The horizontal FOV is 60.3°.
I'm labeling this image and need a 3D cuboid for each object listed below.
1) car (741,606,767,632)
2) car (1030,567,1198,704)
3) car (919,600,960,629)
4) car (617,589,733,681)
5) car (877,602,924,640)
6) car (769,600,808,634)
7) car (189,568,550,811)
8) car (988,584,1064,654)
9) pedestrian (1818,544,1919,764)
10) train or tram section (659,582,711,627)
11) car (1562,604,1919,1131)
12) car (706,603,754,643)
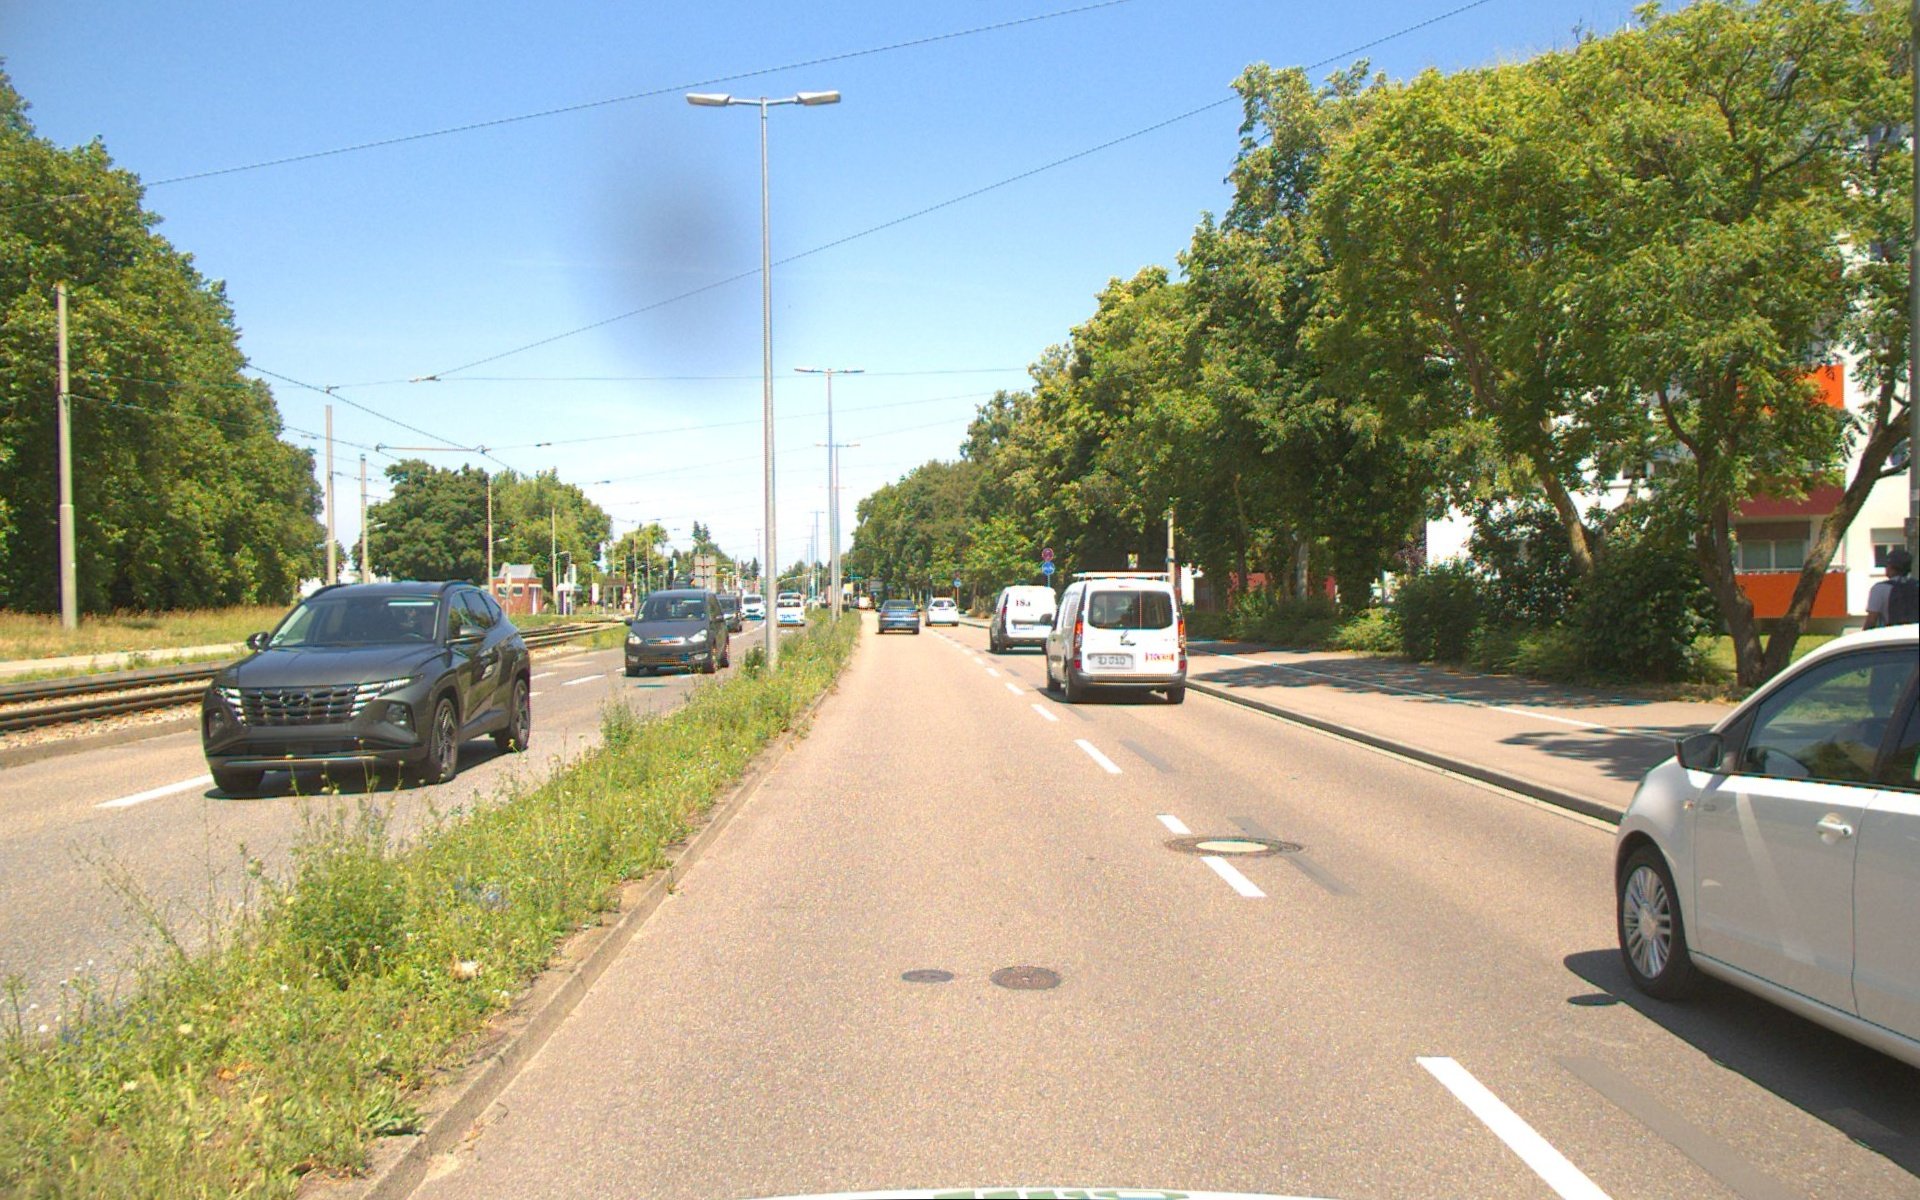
[{"bbox_3d":[-16.913,1.556,135.811,1.852,2.053,5.077,-3,0,-5],"label":"car"},{"bbox_3d":[2.272,0.520,25.543,1.789,1.915,4.450,0,0,-6],"label":"car"},{"bbox_3d":[-1.142,0.781,90.532,1.769,1.567,3.993,0,0,-7],"label":"car"},{"bbox_3d":[-5.931,0.689,34.933,1.793,1.743,4.790,-2,0,-3],"label":"car"},{"bbox_3d":[-2.511,0.860,68.871,1.766,1.512,3.996,0,0,-5],"label":"car"},{"bbox_3d":[-9.466,0.946,91.626,1.793,1.769,4.036,-2,0,-2],"label":"car"},{"bbox_3d":[-5.066,0.685,14.884,1.793,1.787,4.485,-2,0,-3],"label":"car"},{"bbox_3d":[1.769,0.496,45.416,1.693,1.845,3.998,1,0,-3],"label":"car"},{"bbox_3d":[7.351,0.414,13.076,0.655,1.672,0.856,0,-1,-2],"label":"pedestrian"},{"bbox_3d":[-25.738,0.486,156.657,2.734,3.732,37.463,0,0,-6],"label":"train or tram section"},{"bbox_3d":[3.487,0.757,5.320,1.625,1.475,3.853,0,0,-1],"label":"car"},{"bbox_3d":[-11.150,1.077,80.319,1.793,1.833,4.612,-2,0,-2],"label":"car"}]
